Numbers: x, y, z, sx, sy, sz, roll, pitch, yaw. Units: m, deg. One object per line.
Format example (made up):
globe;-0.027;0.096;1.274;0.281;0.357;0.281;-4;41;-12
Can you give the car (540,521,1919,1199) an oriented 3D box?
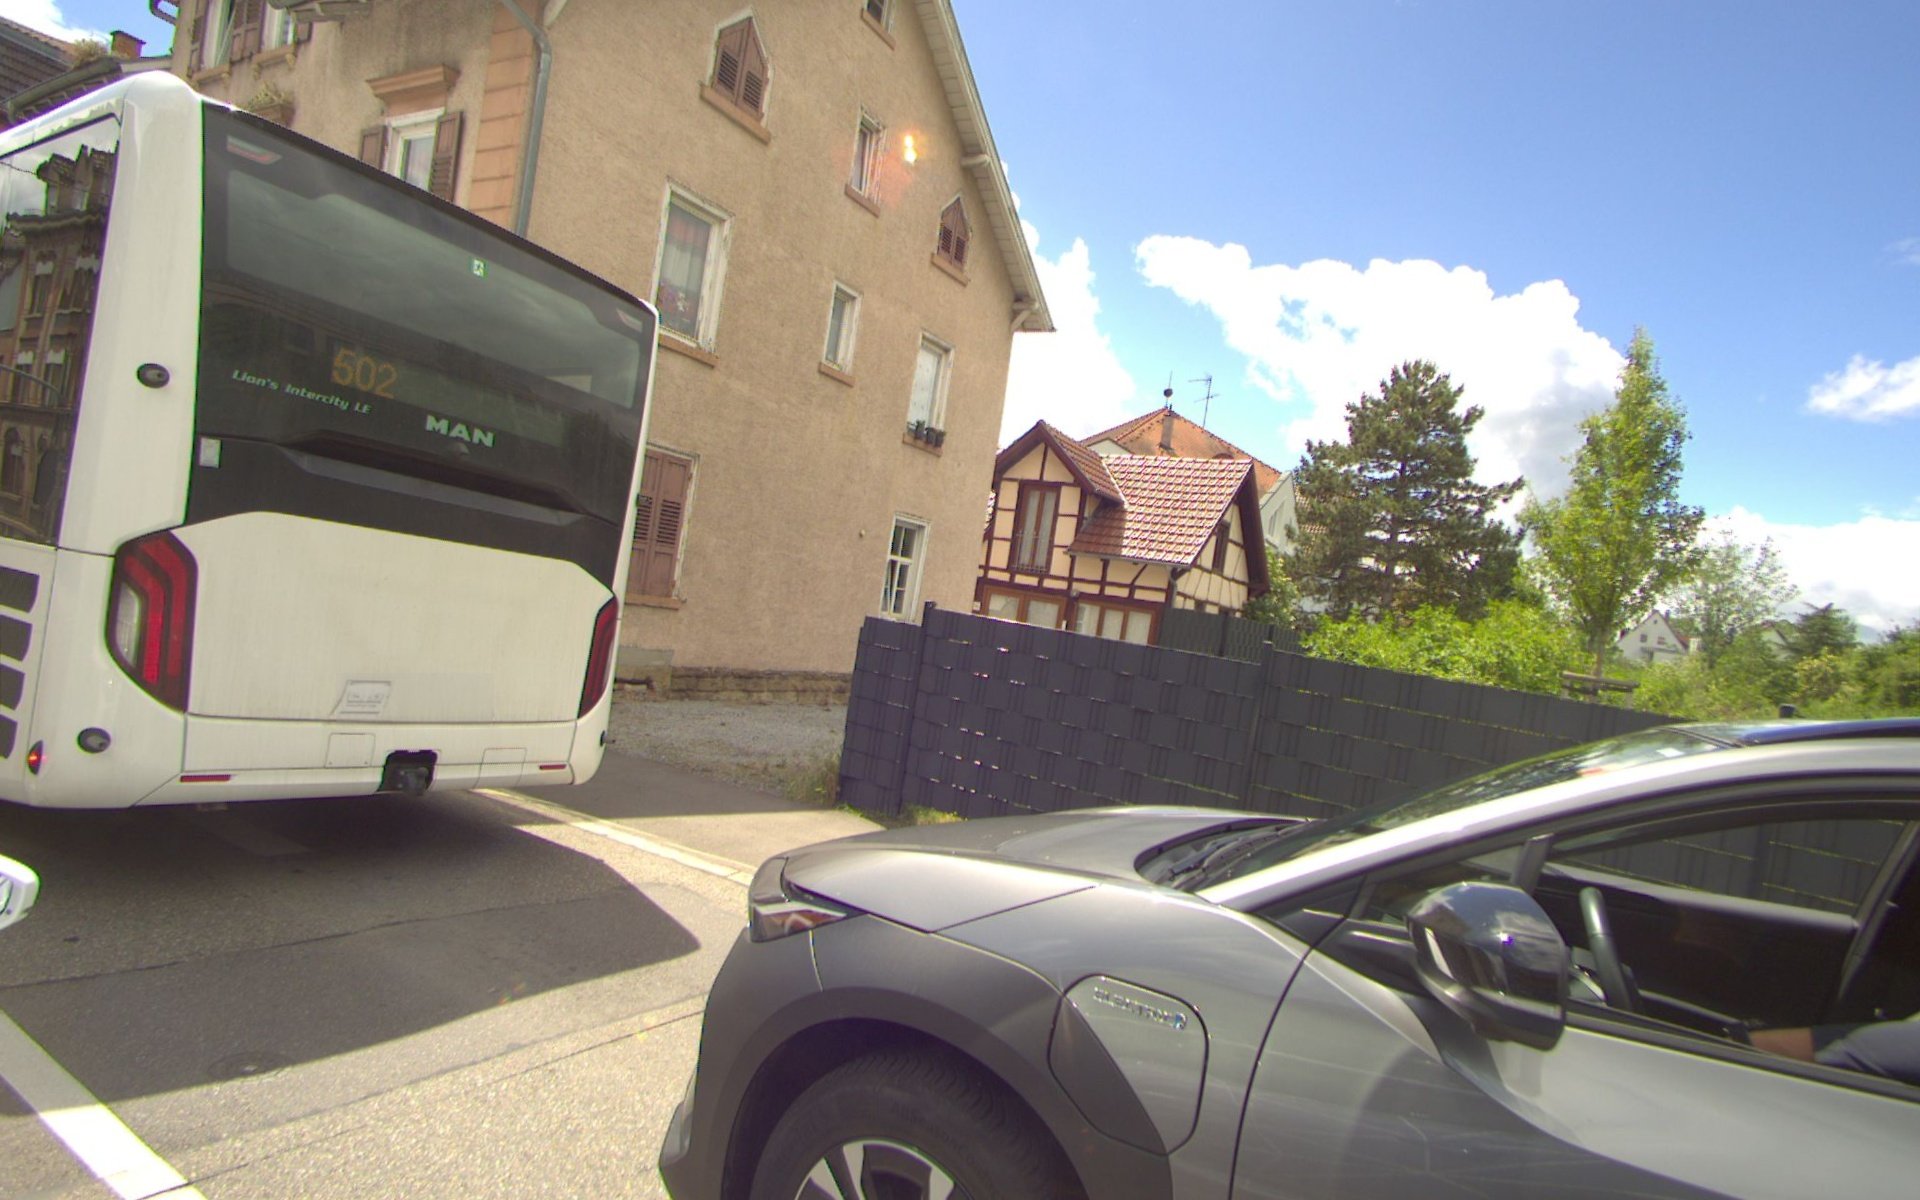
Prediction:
car;1.590;0.959;1.849;4.504;1.648;1.997;7;-1;31

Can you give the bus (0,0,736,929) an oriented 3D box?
bus;-7.443;-1.084;7.819;12.281;3.551;2.910;6;-2;32
